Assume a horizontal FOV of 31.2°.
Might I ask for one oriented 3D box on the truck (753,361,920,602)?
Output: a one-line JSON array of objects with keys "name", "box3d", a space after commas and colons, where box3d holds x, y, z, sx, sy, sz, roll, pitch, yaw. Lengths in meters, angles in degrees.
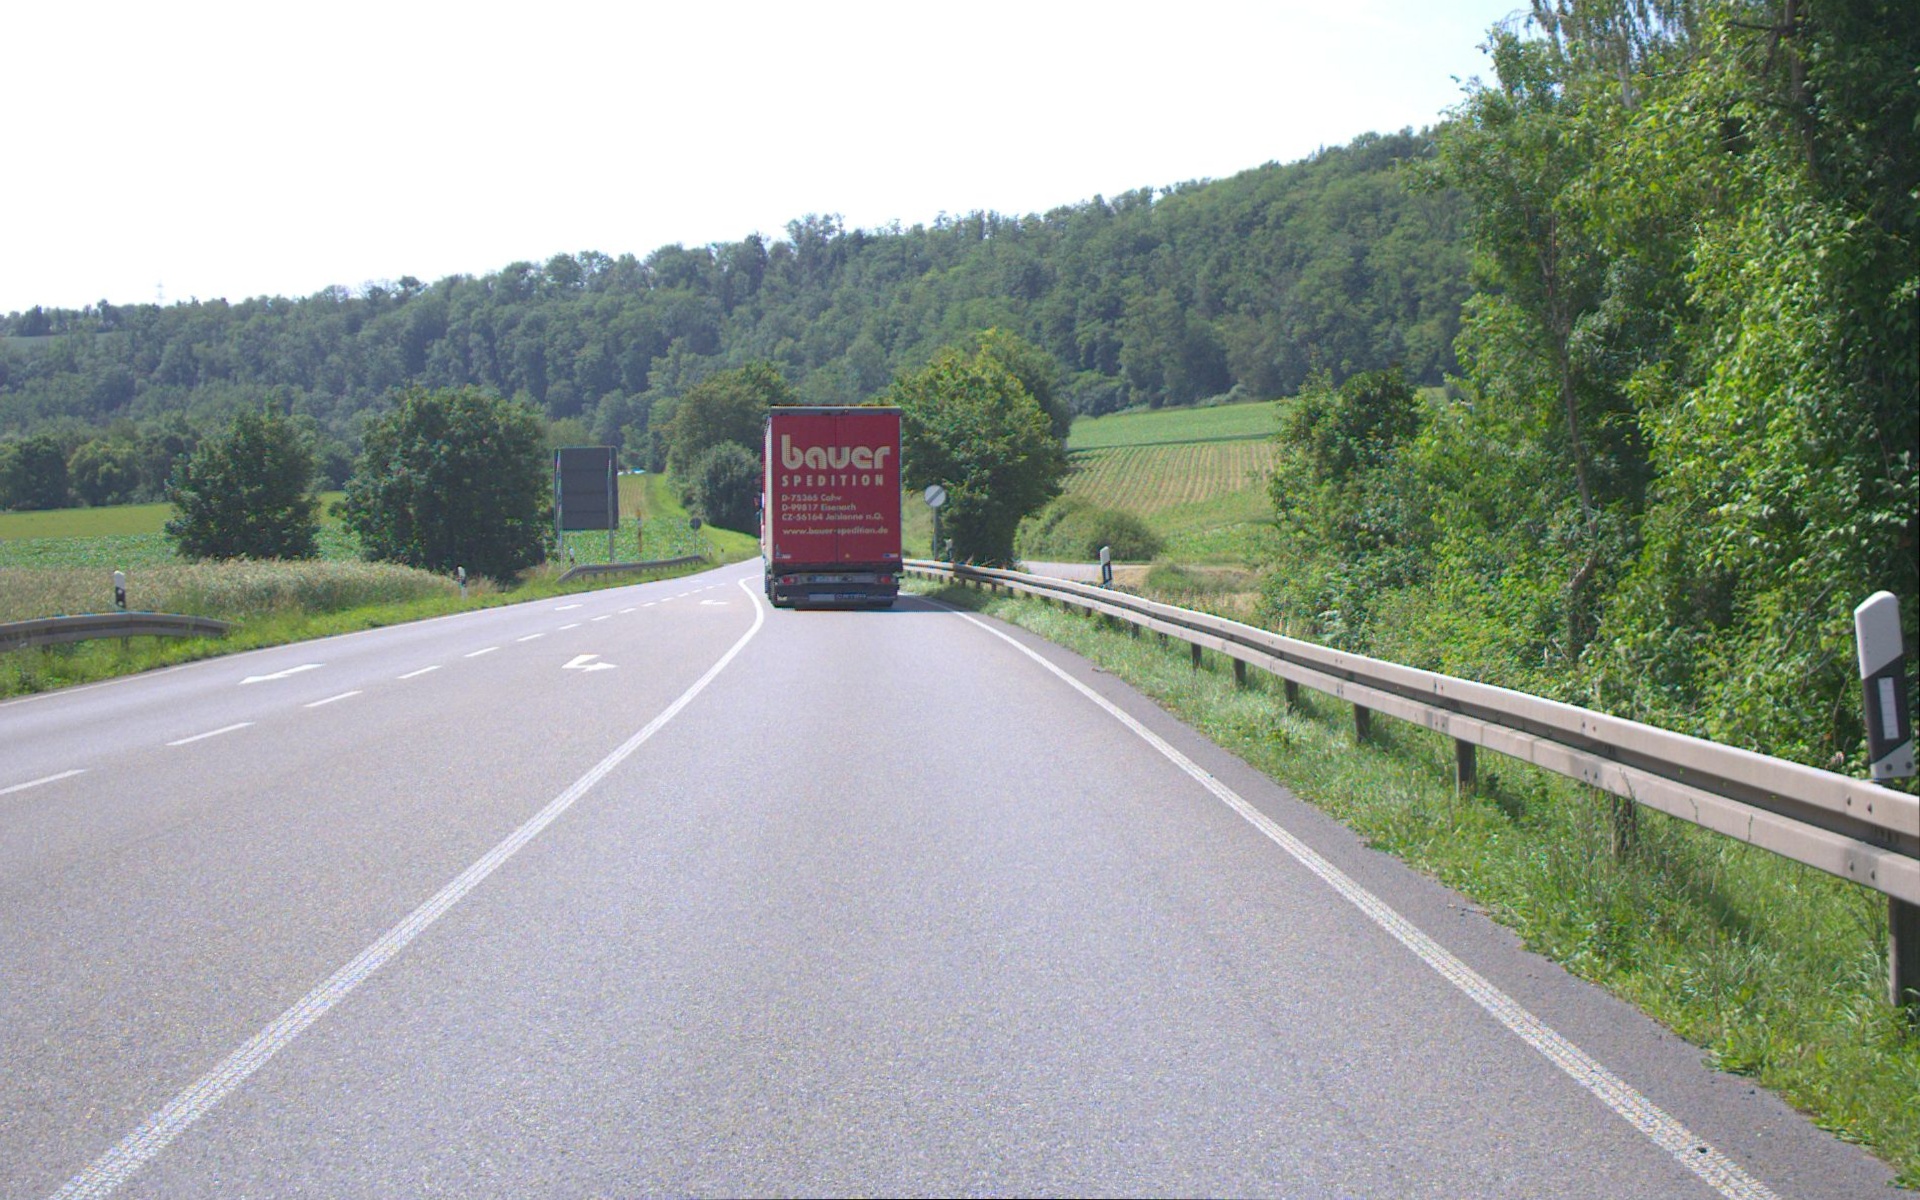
[{"name": "truck", "box3d": [-2.721, -2.462, 72.939, 3.172, 4.609, 13.546, -1, 2, -3]}]
